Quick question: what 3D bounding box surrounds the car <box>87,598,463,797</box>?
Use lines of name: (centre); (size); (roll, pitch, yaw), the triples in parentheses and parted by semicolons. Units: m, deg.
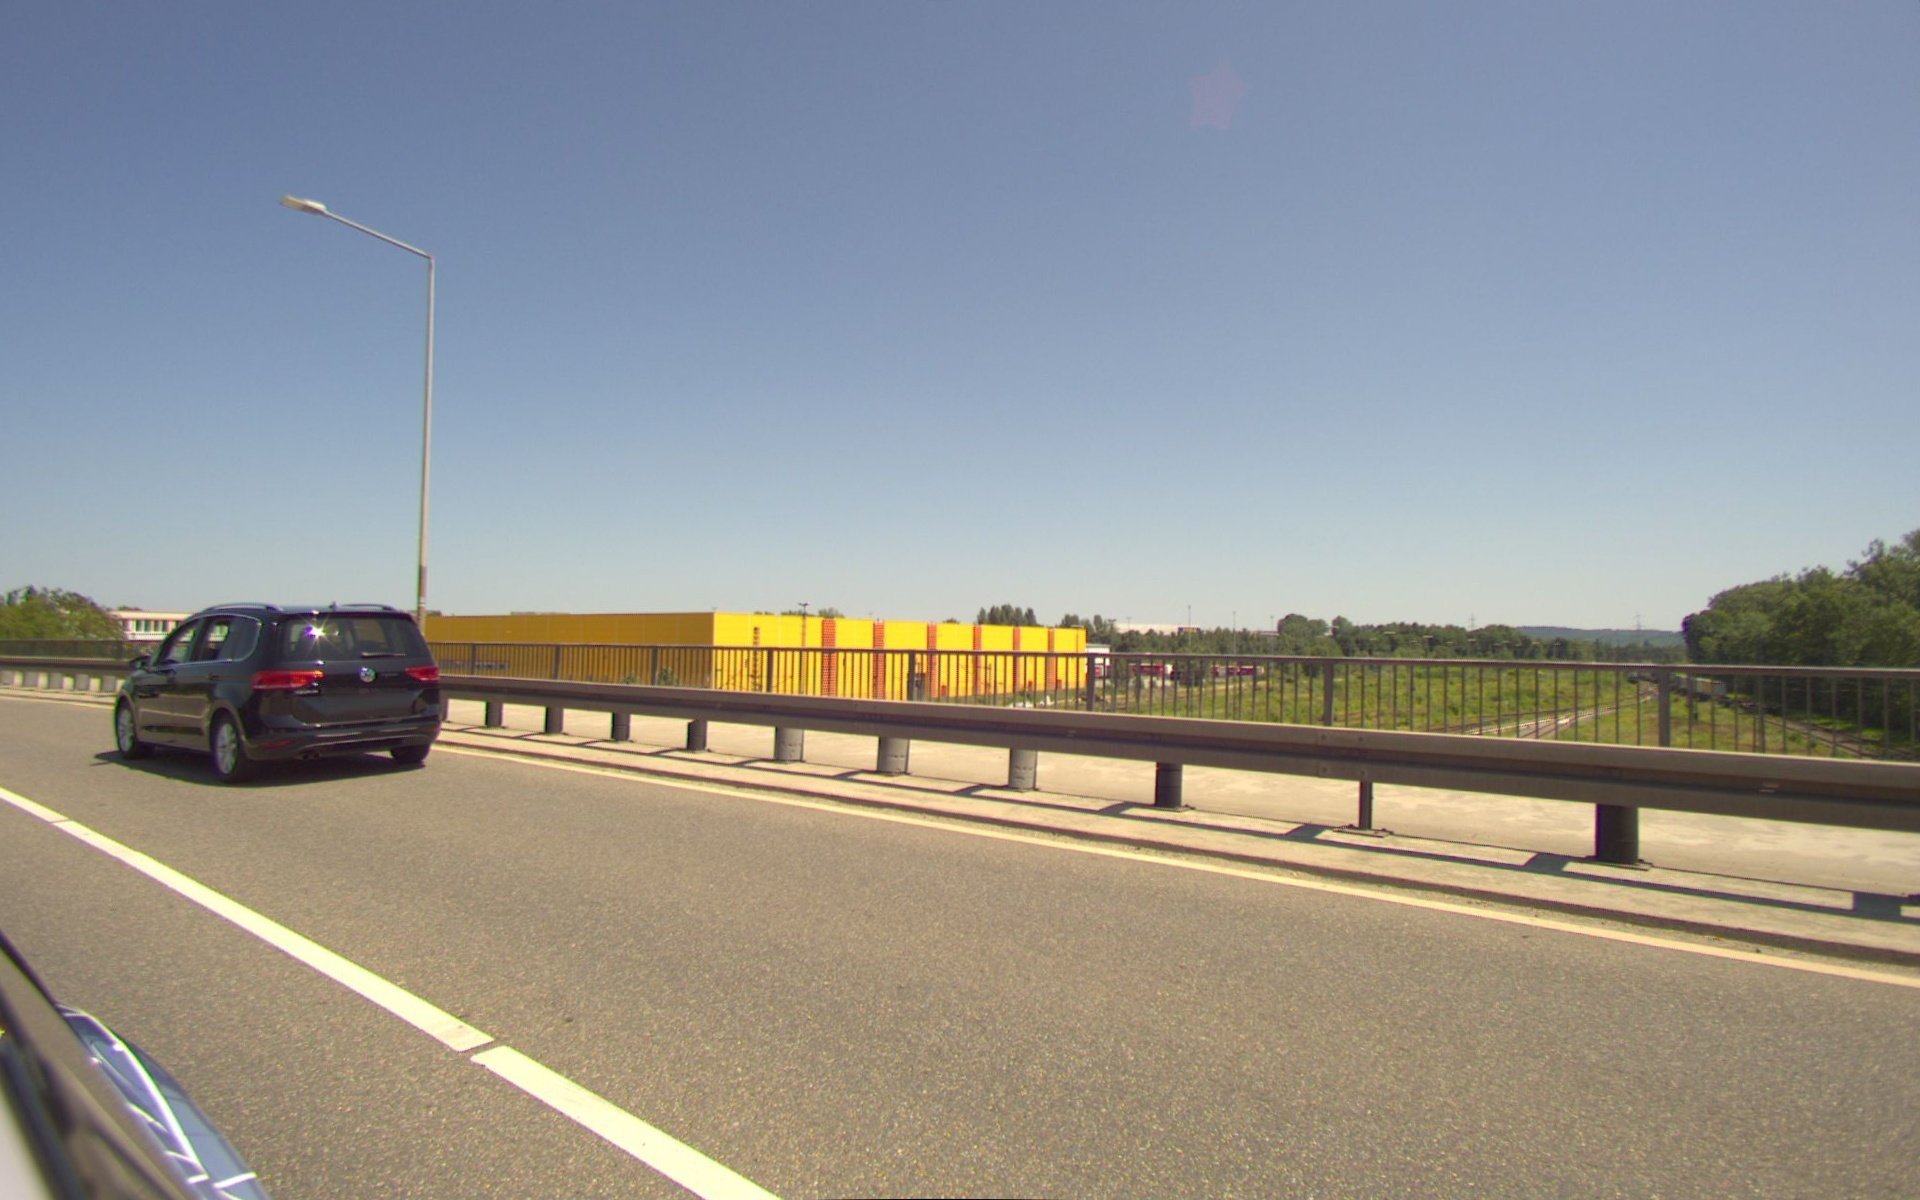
car: (-7.054, 0.849, 10.289); (4.243, 1.638, 1.757); (-1, -2, 35)
